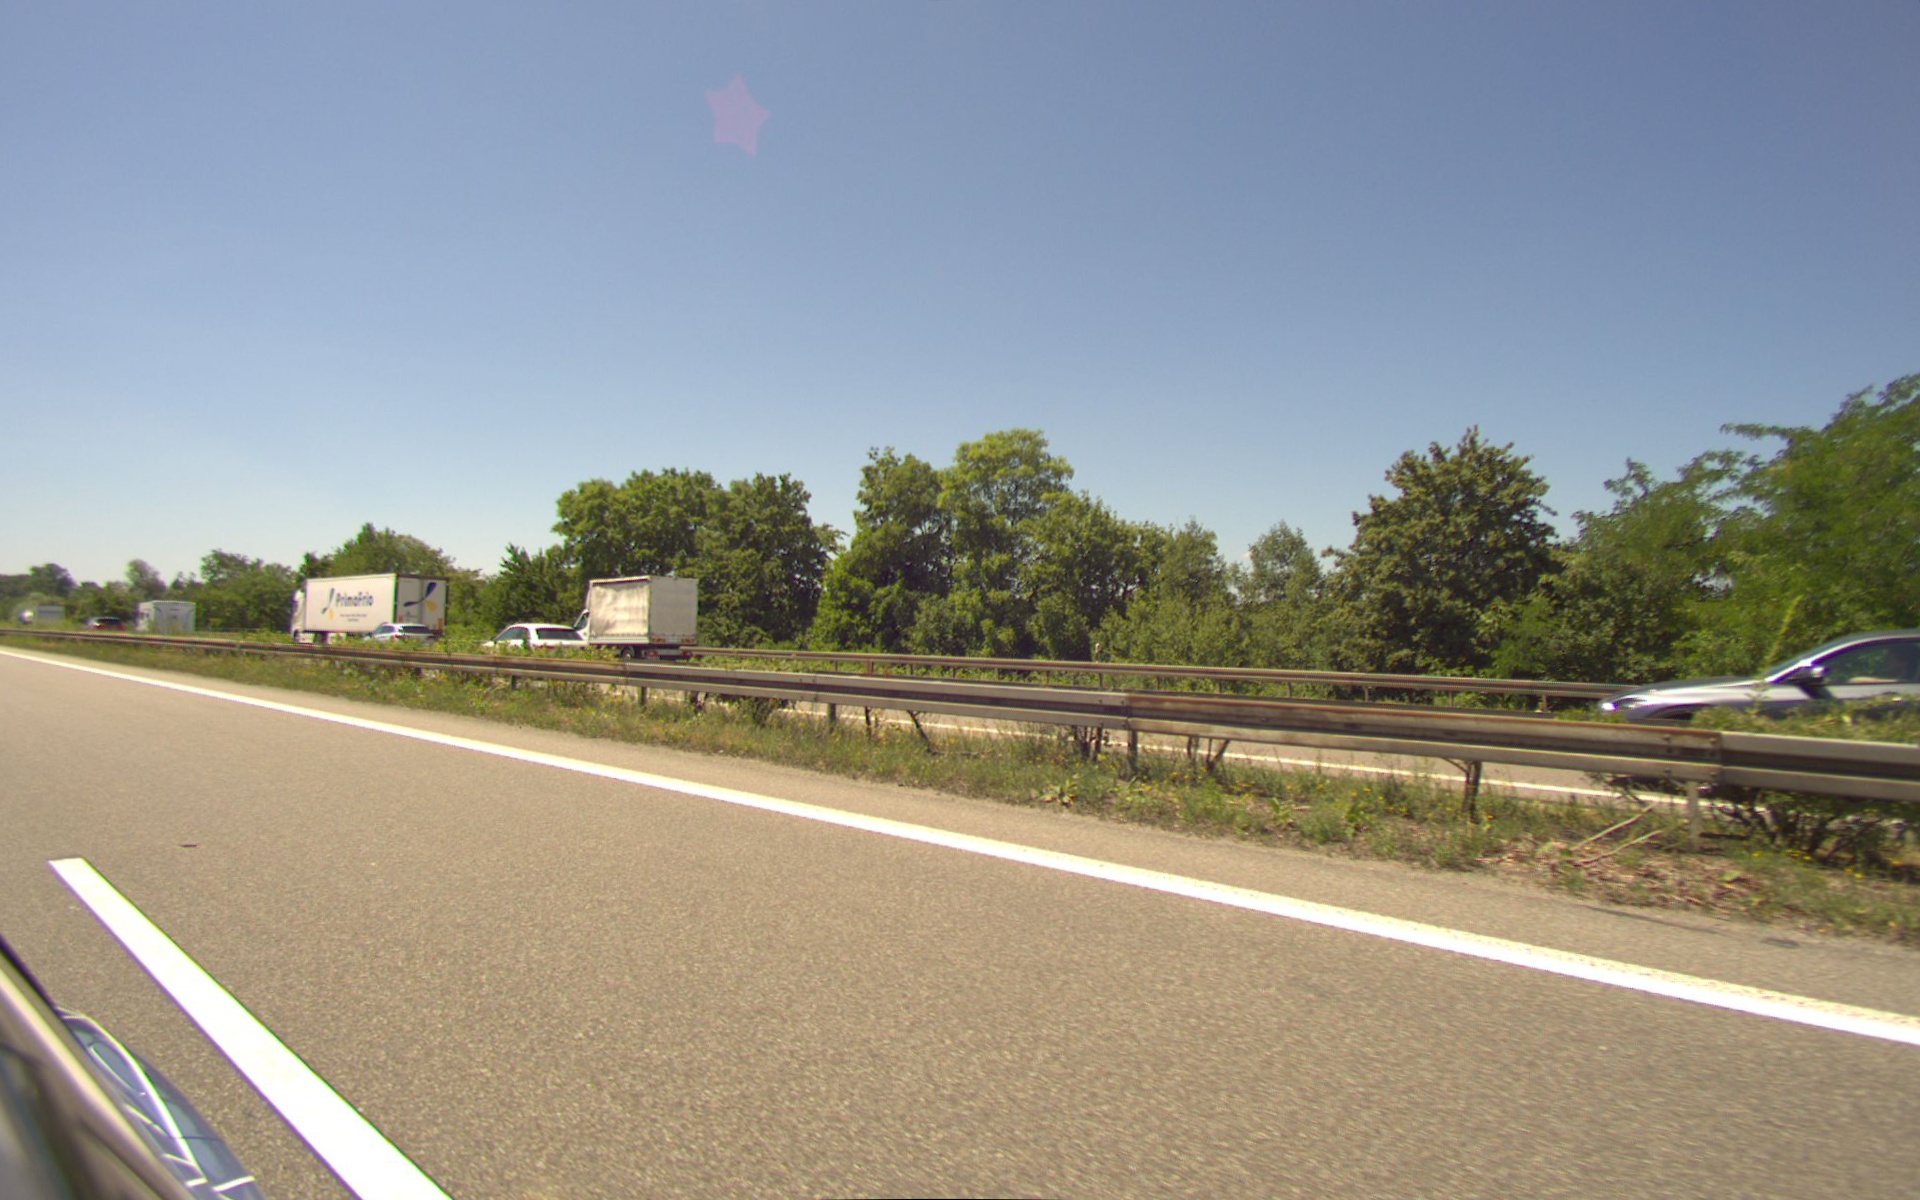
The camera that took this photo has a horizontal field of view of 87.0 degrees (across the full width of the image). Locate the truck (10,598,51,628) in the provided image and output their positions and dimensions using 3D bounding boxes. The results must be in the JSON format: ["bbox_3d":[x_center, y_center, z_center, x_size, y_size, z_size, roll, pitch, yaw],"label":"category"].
[{"bbox_3d":[-133.569,1.963,145.303,15.931,4.083,2.700,-1,-2,42],"label":"truck"}]

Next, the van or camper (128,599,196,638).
[{"bbox_3d":[-56.733,1.338,71.848,7.806,2.579,2.442,-1,-2,42],"label":"van or camper"}]

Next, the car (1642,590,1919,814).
[{"bbox_3d":[8.380,0.817,8.463,4.240,1.747,1.973,-1,-2,41],"label":"car"}]

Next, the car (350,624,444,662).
[{"bbox_3d":[-24.151,1.799,43.322,4.943,1.495,1.972,-1,-2,41],"label":"car"}]

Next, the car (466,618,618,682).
[{"bbox_3d":[-10.922,1.242,26.349,4.240,1.521,1.973,-1,-2,41],"label":"car"}]

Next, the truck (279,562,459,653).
[{"bbox_3d":[-33.666,0.570,56.996,17.184,4.411,3.182,-1,-5,41],"label":"truck"}]

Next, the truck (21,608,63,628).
[{"bbox_3d":[-98.069,1.940,108.095,7.137,2.083,2.699,-1,-2,43],"label":"truck"}]

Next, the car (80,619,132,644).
[{"bbox_3d":[-54.780,1.991,64.900,3.998,1.530,1.972,-1,-2,41],"label":"car"}]

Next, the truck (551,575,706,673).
[{"bbox_3d":[-13.095,0.930,39.598,7.419,3.491,2.344,-1,-2,42],"label":"truck"}]
